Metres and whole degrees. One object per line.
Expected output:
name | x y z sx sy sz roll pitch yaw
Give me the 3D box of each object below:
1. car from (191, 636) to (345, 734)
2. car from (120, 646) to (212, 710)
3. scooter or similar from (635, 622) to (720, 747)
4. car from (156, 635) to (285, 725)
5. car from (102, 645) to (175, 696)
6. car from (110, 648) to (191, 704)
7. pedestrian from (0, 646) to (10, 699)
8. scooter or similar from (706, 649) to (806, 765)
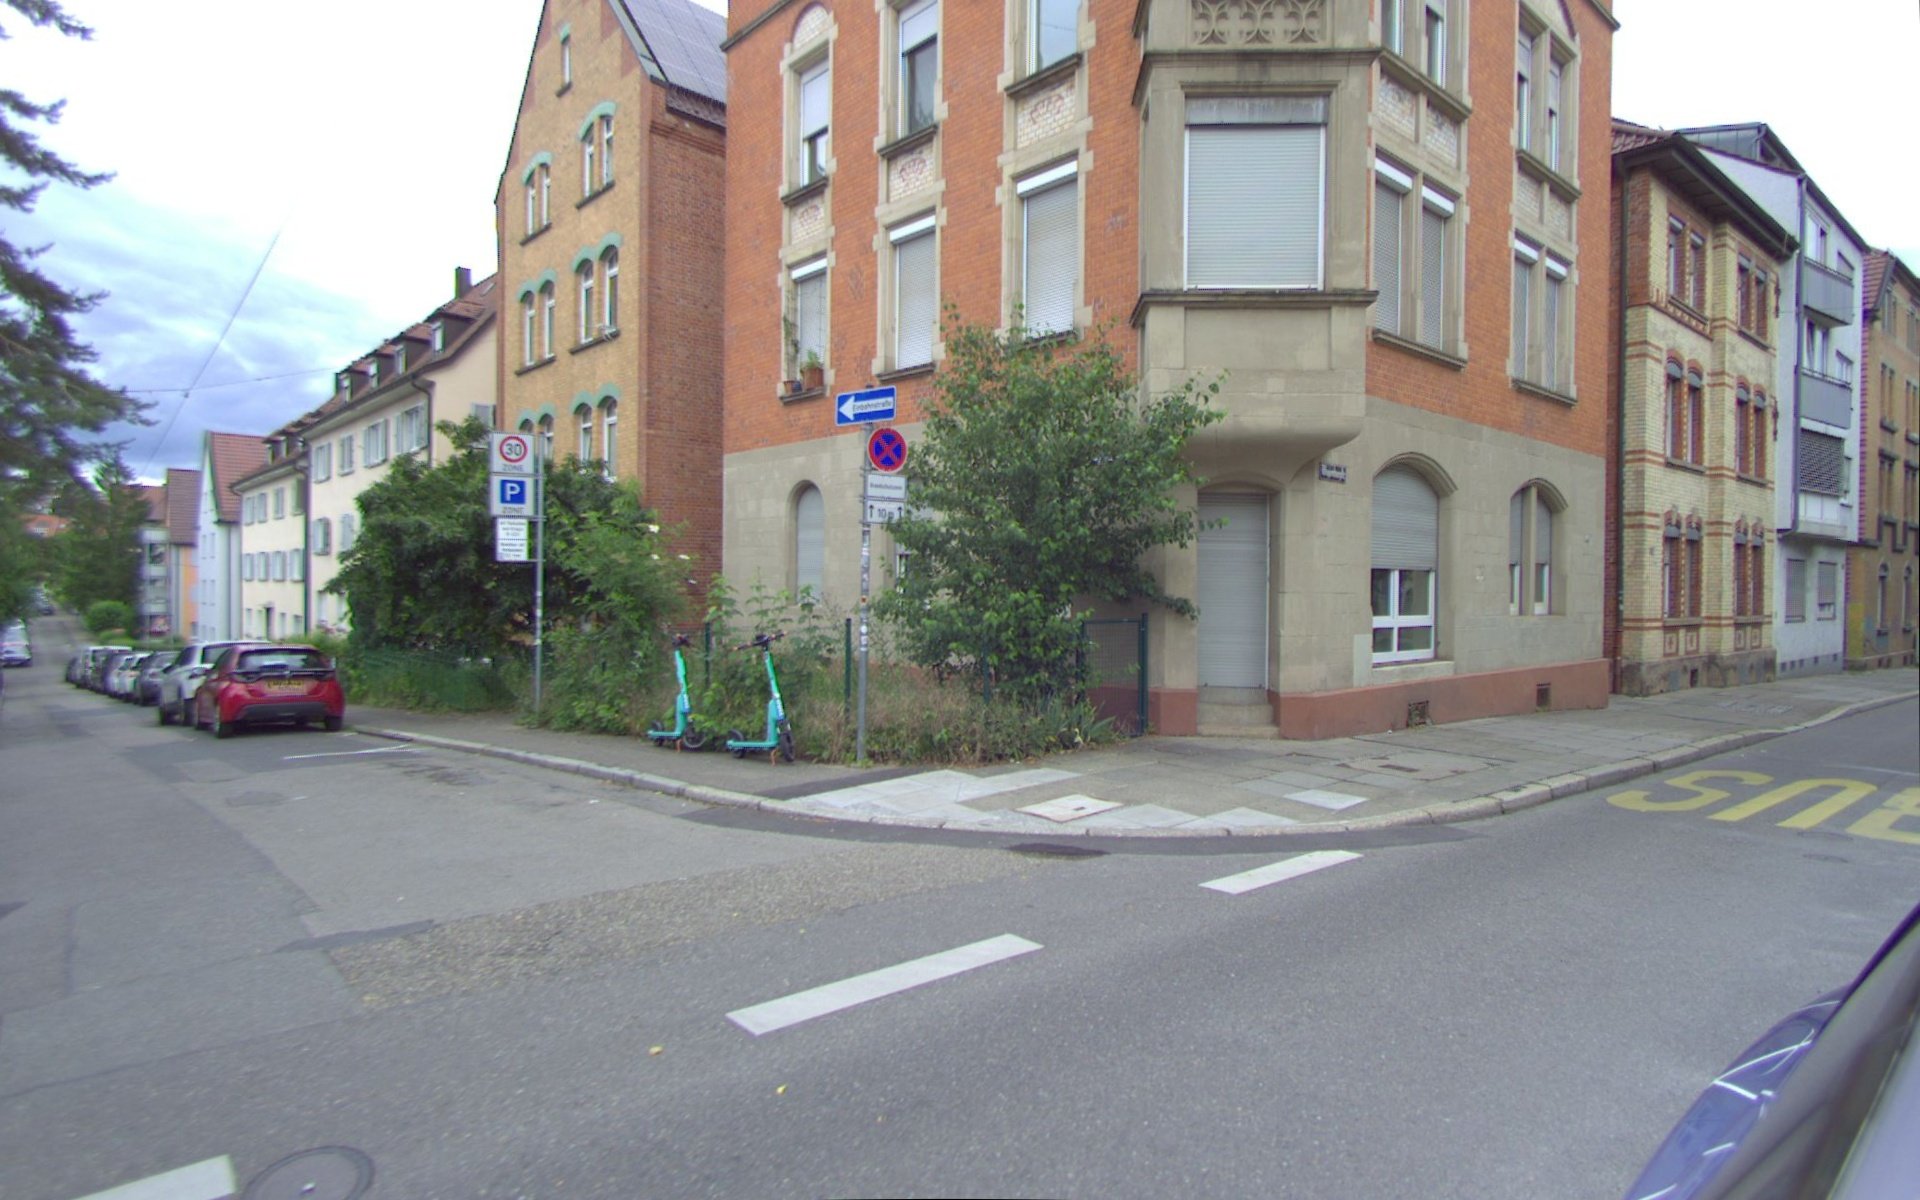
car | -11.993 1.373 17.450 1.748 1.467 3.747 0 -2 -42
car | -21.966 2.096 27.948 1.748 1.527 3.747 2 -2 -42
scooter or similar | -3.112 0.917 11.110 0.408 1.288 1.086 -2 -2 -41
car | -15.093 1.614 20.580 1.748 1.632 3.746 2 -5 -42
car | -27.806 2.345 34.209 1.748 1.527 3.218 2 -2 -42
car | -24.932 2.288 31.138 1.748 1.527 3.218 2 -2 -42
pedestrian | -37.172 2.782 38.891 0.865 2.040 0.722 2 -2 -39
scooter or similar | -2.015 1.018 9.942 0.408 1.029 1.236 1 -2 -41
